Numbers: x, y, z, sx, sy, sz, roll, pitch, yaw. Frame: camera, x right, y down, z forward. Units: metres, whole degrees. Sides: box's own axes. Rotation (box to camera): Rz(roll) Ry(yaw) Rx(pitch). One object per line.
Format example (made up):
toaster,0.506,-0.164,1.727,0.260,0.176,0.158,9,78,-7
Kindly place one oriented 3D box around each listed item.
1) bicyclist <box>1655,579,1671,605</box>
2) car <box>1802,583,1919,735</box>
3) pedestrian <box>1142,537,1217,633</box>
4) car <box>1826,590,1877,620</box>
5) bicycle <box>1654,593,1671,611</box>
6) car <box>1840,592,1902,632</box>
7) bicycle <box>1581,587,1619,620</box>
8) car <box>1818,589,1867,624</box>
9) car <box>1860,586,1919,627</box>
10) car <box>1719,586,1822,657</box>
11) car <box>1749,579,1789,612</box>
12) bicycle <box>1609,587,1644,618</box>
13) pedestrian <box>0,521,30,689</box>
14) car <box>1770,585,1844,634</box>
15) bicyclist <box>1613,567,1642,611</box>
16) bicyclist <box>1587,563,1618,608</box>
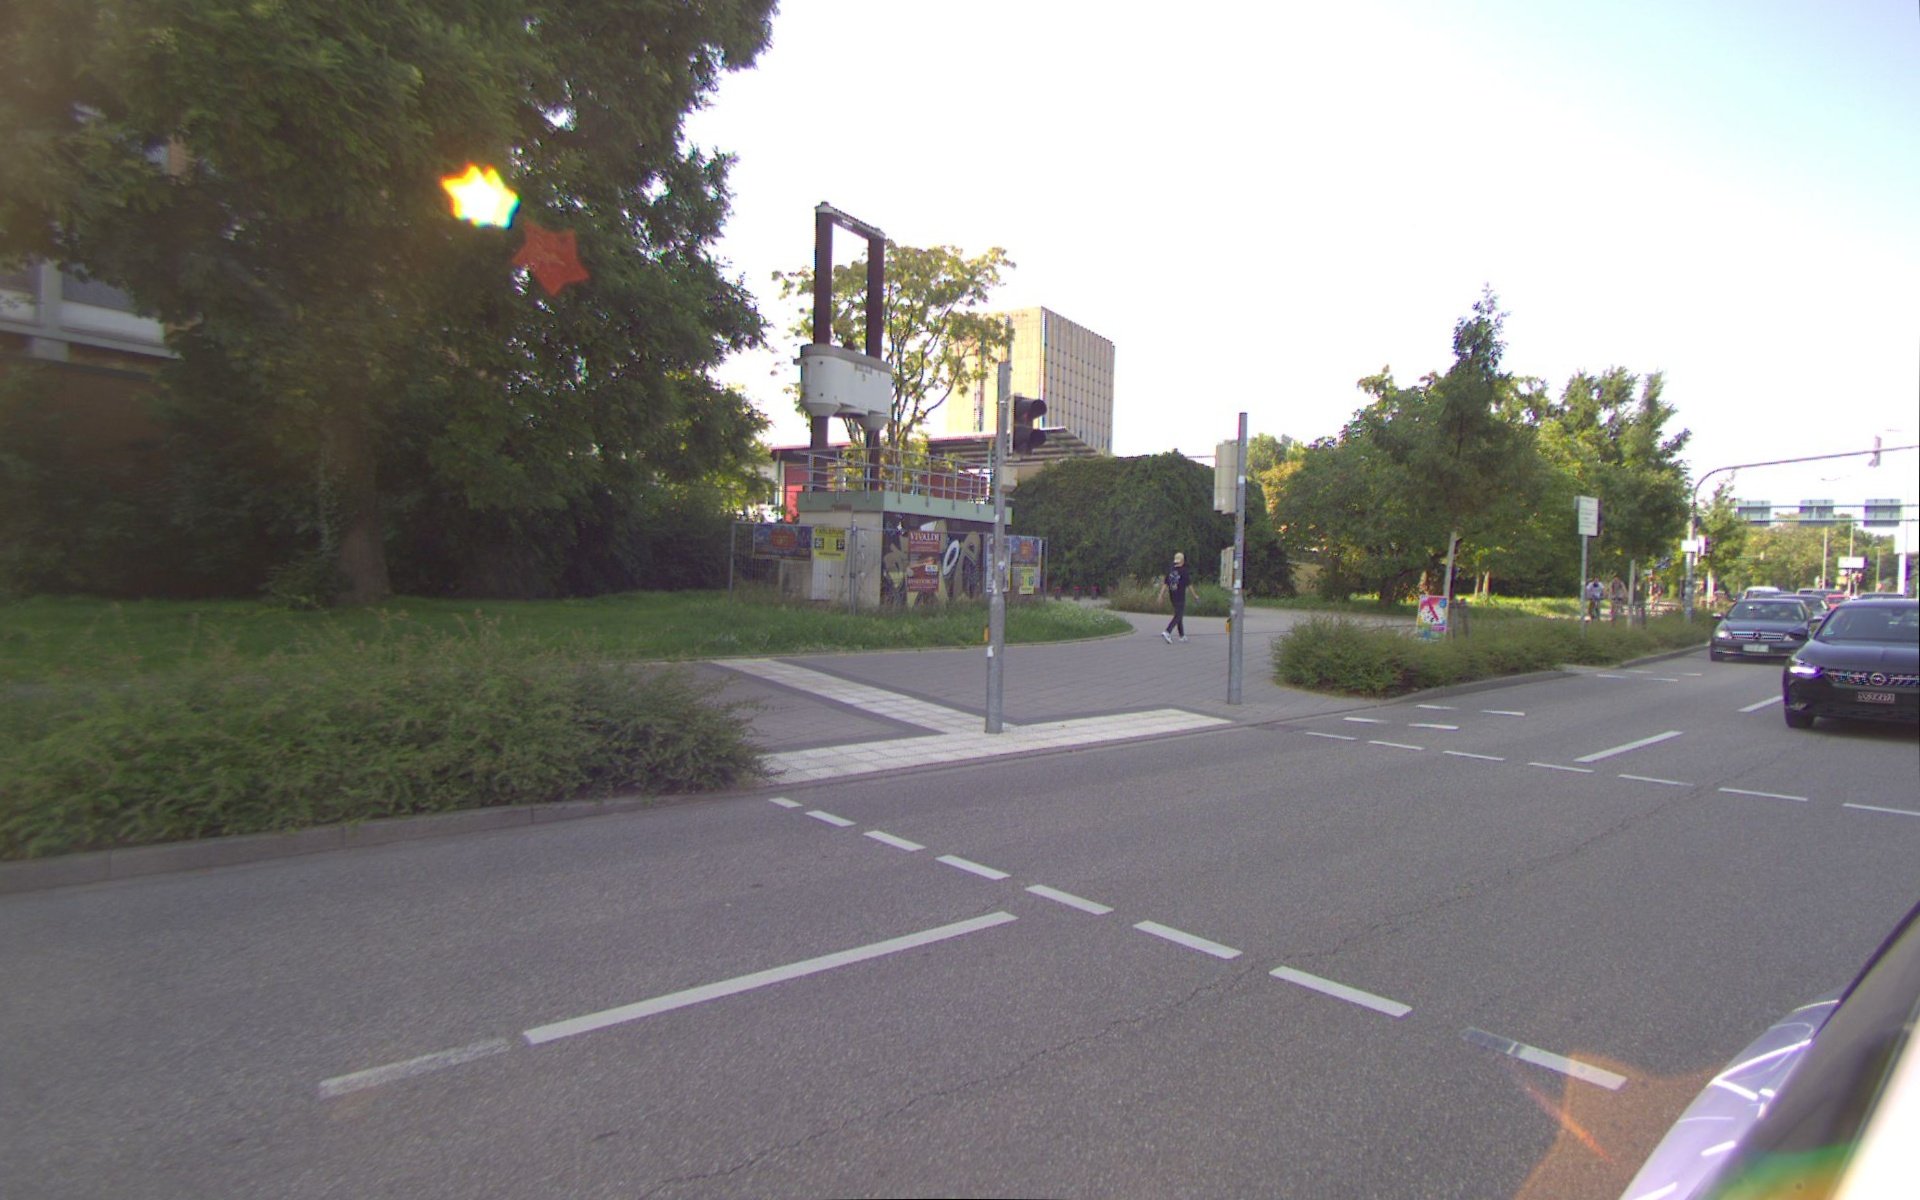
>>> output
bicyclist,46.261,-0.528,66.601,0.769,1.697,0.911,2,1,38
car,11.036,0.573,11.611,4.300,1.510,1.684,0,1,-44
pedestrian,4.314,-0.302,19.862,0.985,1.804,0.959,0,4,-42
car,48.077,0.230,54.640,1.679,1.510,4.313,3,2,37
bicycle,46.254,0.120,66.628,0.769,1.131,2.272,2,2,37
car,42.328,0.525,47.090,1.775,1.625,4.362,3,3,38
bicycle,23.218,0.108,36.682,0.771,1.131,2.269,3,2,42
car,52.407,0.337,60.180,1.677,1.965,4.023,3,2,34
car,37.210,0.211,40.287,1.679,1.510,4.313,3,2,37
car,18.634,0.424,23.198,1.681,1.460,4.308,1,1,41
car,51.096,-0.294,63.988,1.678,1.965,4.317,3,2,35
bicycle,25.005,0.083,37.957,0.770,1.131,2.269,2,2,41
pedestrian,-8.886,0.031,8.948,0.840,1.461,0.728,0,2,-31
car,28.664,0.262,34.358,1.679,1.510,4.610,3,2,38
bicyclist,25.028,-0.411,37.952,0.770,1.613,0.910,2,1,42
bicyclist,23.367,-0.524,36.818,0.771,1.612,0.910,3,2,42
